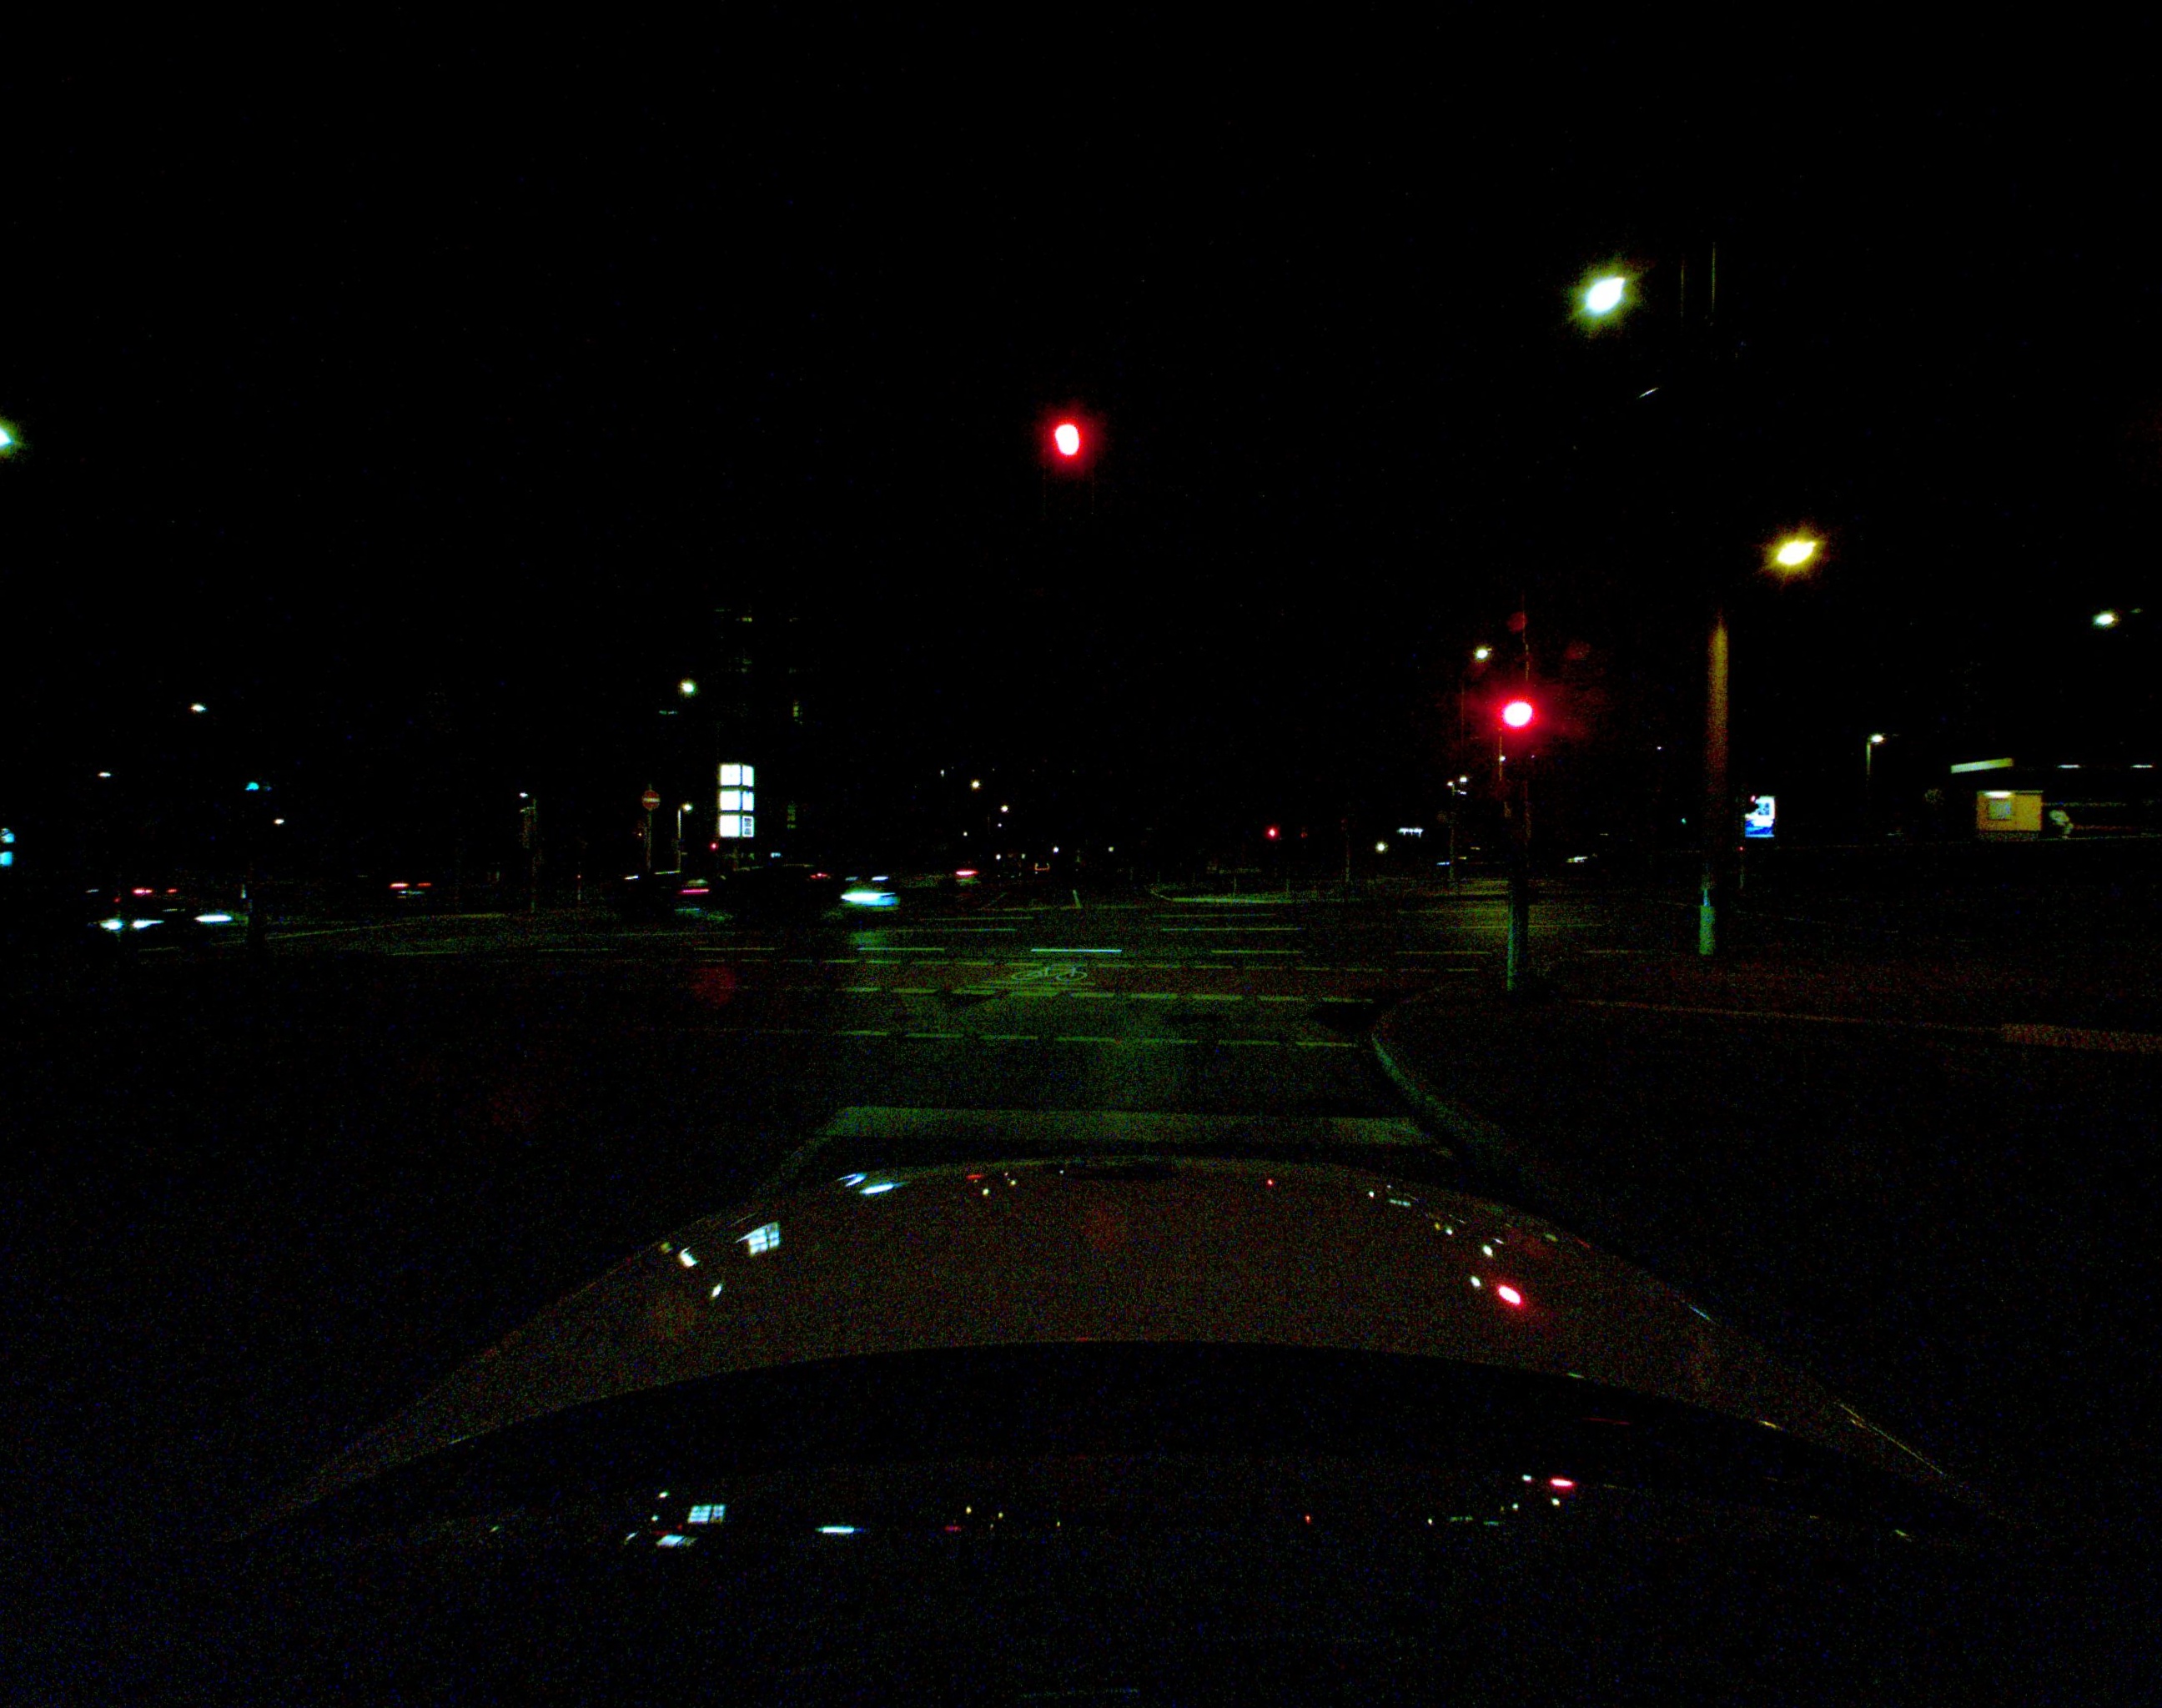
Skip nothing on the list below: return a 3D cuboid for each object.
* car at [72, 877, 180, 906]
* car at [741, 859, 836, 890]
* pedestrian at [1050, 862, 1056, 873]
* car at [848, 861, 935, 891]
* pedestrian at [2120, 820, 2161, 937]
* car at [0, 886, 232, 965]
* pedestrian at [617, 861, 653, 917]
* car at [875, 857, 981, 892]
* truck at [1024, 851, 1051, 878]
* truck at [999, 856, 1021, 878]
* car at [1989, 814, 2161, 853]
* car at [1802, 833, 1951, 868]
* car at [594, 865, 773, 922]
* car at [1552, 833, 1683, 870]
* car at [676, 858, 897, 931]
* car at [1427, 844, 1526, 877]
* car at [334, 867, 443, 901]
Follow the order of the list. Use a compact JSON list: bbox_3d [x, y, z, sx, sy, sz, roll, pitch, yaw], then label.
[{"bbox_3d":[-53.659,2.089,45.818,4.041,1.424,1.846,-1,1,5],"label":"car"},{"bbox_3d":[-15.103,1.055,42.134,4.212,1.585,1.806,0,-1,6],"label":"car"},{"bbox_3d":[-5.120,2.476,147.906,0.851,1.912,1.001,0,-1,-16],"label":"pedestrian"},{"bbox_3d":[-10.357,1.224,44.671,4.215,1.585,1.889,0,-1,4],"label":"car"},{"bbox_3d":[15.814,0.315,11.654,0.870,1.656,0.843,-7,-5,42],"label":"pedestrian"},{"bbox_3d":[-21.665,1.532,17.675,4.897,1.473,1.747,-1,0,5],"label":"car"},{"bbox_3d":[-14.014,1.082,25.608,0.670,1.722,0.710,-1,-2,27],"label":"pedestrian"},{"bbox_3d":[-7.173,0.947,38.370,4.551,1.585,1.848,0,1,3],"label":"car"},{"bbox_3d":[-7.993,1.939,149.256,3.366,4.843,7.865,0,-1,-14],"label":"truck"},{"bbox_3d":[-10.454,1.897,119.536,2.419,3.089,6.412,0,-1,-11],"label":"truck"},{"bbox_3d":[41.953,-0.857,34.369,4.917,1.420,1.854,-2,-1,5],"label":"car"},{"bbox_3d":[36.472,-0.156,37.444,4.795,1.420,1.854,-2,-1,5],"label":"car"},{"bbox_3d":[-11.079,1.076,22.818,4.224,1.420,1.750,-1,2,9],"label":"car"},{"bbox_3d":[23.376,-0.088,35.626,4.406,1.420,1.854,-2,-1,5],"label":"car"},{"bbox_3d":[-6.937,0.941,19.460,4.549,1.419,1.748,-2,2,5],"label":"car"},{"bbox_3d":[18.784,0.320,38.806,3.852,1.405,1.771,-2,-1,5],"label":"car"},{"bbox_3d":[-34.615,1.490,40.768,3.970,1.585,1.805,-1,-2,2],"label":"car"}]
